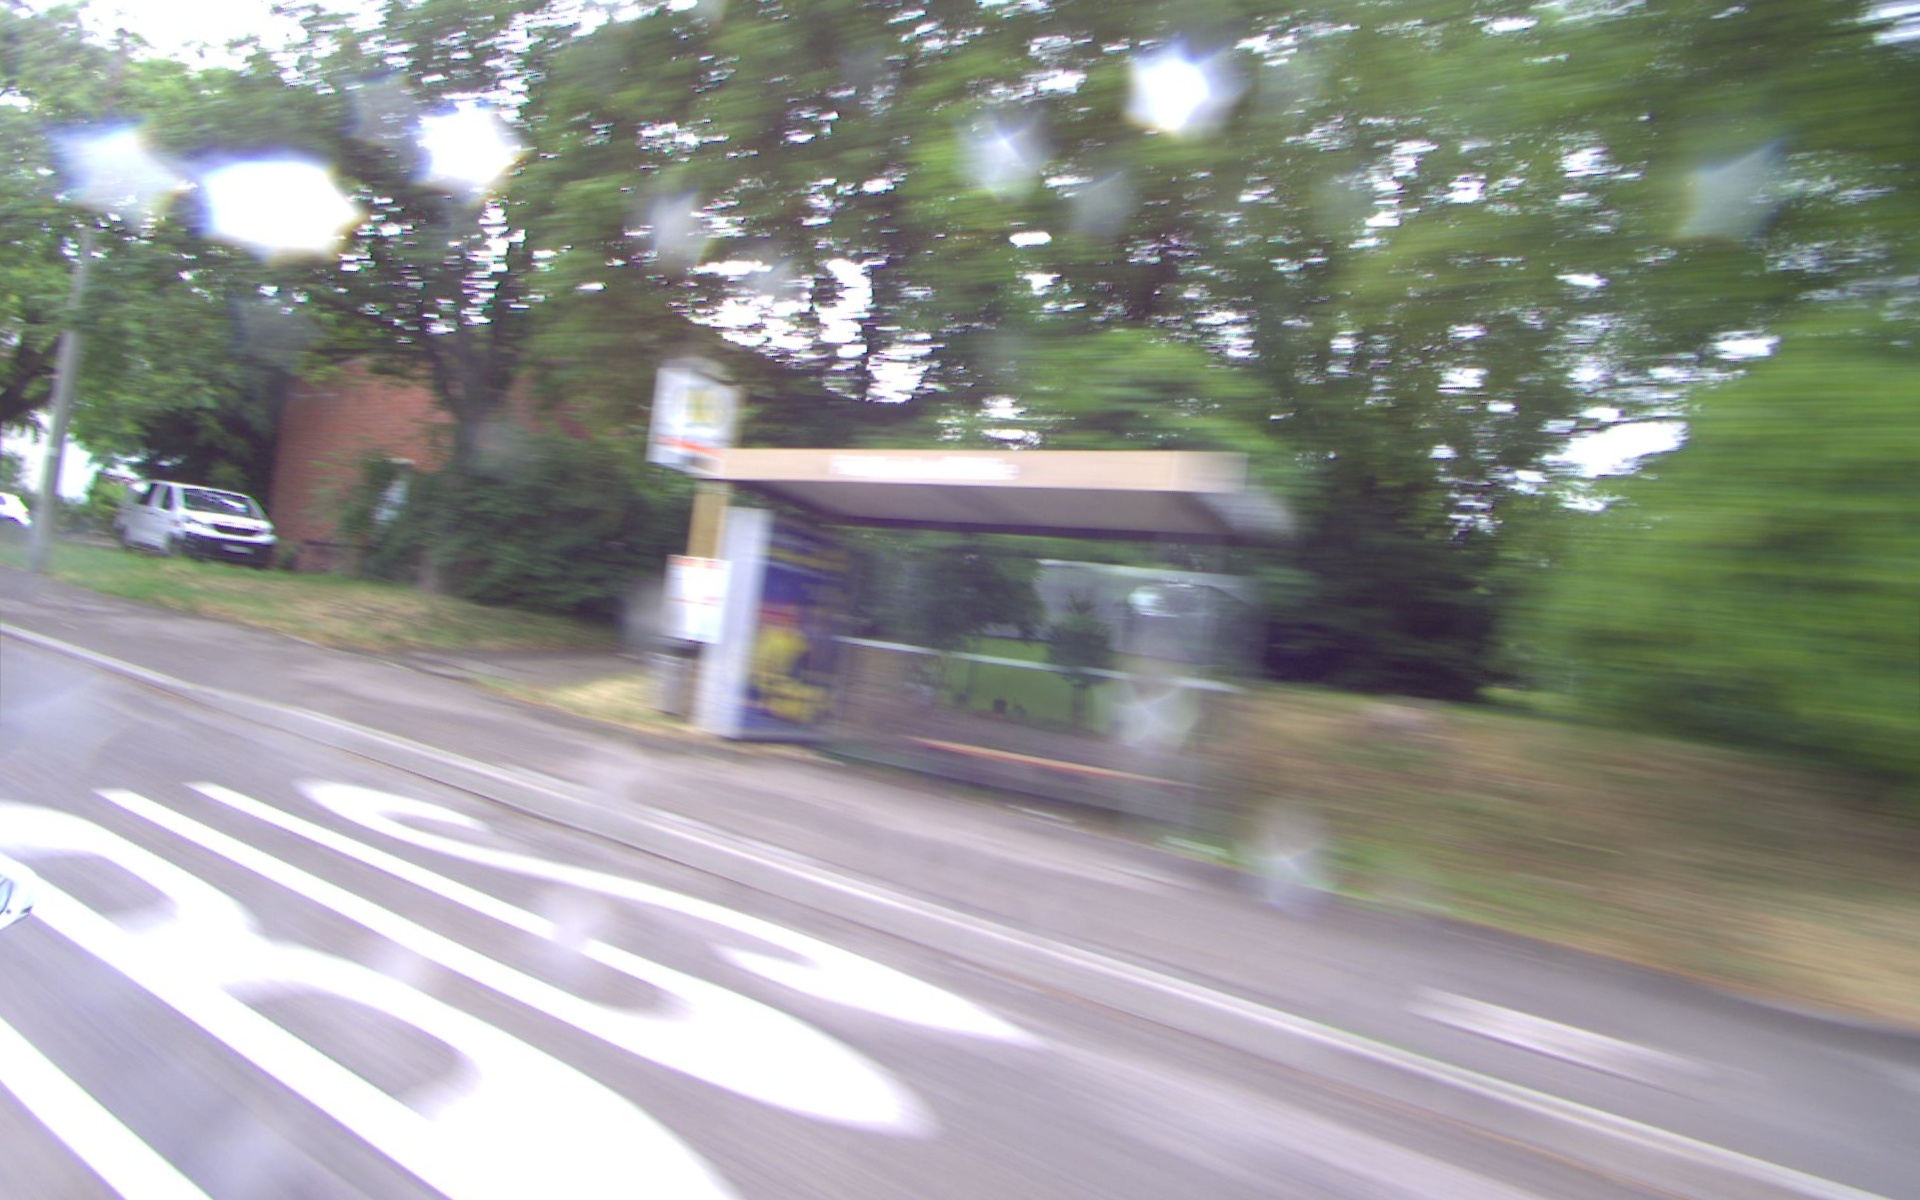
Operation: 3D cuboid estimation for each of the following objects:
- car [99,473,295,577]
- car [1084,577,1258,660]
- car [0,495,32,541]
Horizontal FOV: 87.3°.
[{"bbox_3d":[-18.341,-1.824,24.112,5.064,1.824,1.999,7,-4,34],"label":"car"},{"bbox_3d":[5.214,0.482,24.626,4.288,1.803,1.783,3,2,-39],"label":"car"},{"bbox_3d":[-33.742,-2.984,33.345,1.675,1.439,3.997,5,-2,28],"label":"car"}]
